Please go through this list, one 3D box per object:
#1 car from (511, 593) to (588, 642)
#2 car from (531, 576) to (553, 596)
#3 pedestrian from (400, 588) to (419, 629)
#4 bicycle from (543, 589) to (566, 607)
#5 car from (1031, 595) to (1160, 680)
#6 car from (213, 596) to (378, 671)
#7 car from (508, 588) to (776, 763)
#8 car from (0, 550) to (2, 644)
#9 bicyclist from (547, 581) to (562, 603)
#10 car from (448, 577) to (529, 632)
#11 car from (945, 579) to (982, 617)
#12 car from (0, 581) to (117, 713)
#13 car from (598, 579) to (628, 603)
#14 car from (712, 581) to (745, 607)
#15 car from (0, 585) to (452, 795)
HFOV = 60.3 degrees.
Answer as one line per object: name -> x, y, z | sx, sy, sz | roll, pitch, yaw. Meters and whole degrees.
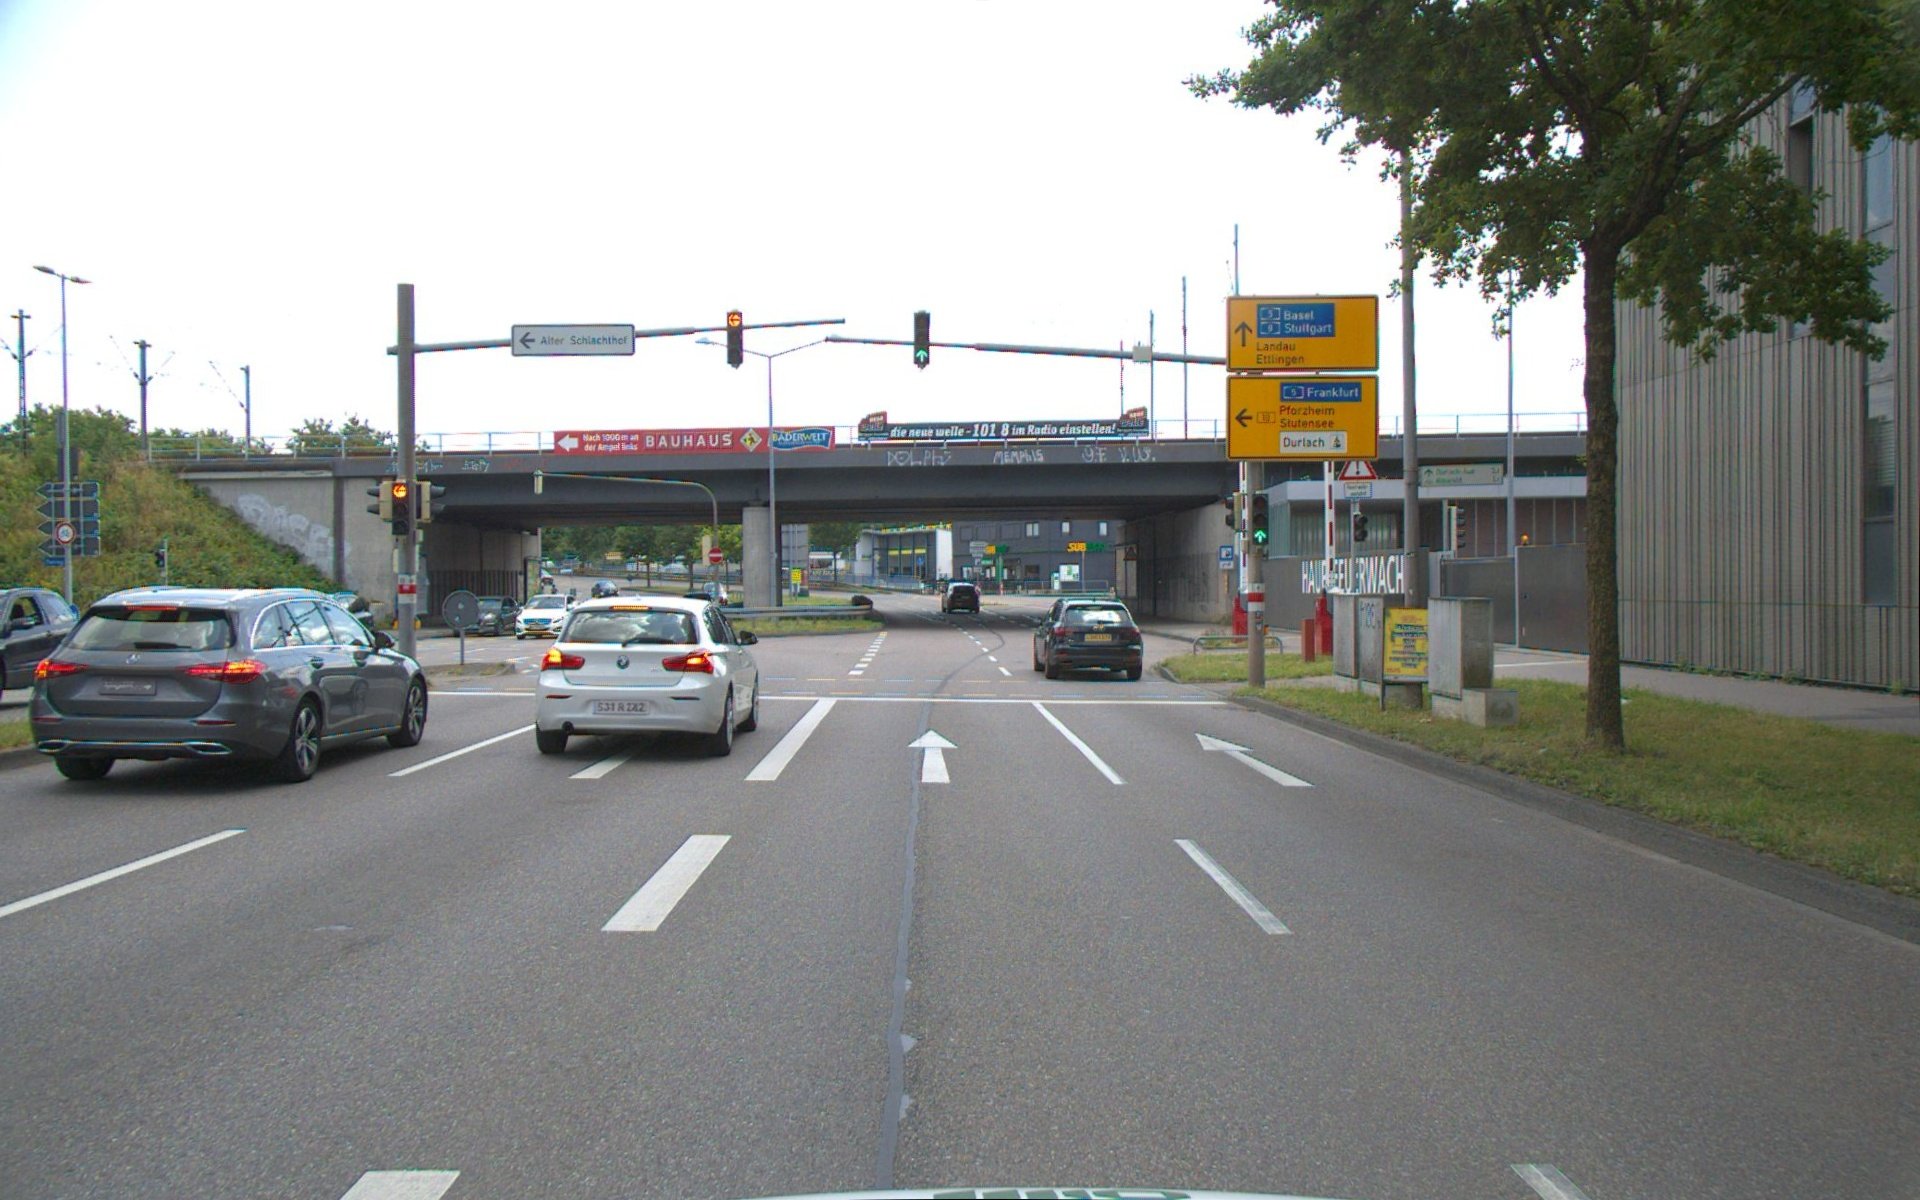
car -> -14.757, 0.599, 59.688 | 1.769, 1.660, 4.391 | -1, 0, -2
car -> -44.916, -1.494, 177.684 | 1.963, 2.049, 4.313 | -1, 1, -19
pedestrian -> -22.890, 0.357, 68.747 | 0.579, 1.710, 0.555 | -1, 0, -4
bicycle -> -26.249, -0.113, 107.149 | 0.666, 1.162, 2.285 | 1, 0, 6
car -> 2.470, 0.651, 31.295 | 1.953, 1.414, 4.575 | 1, 1, -1
car -> -14.433, 0.683, 36.169 | 1.886, 1.556, 4.001 | 0, 0, 2
car -> -2.986, 0.639, 16.446 | 1.876, 1.439, 4.294 | 2, 0, -1
car -> -31.736, -0.057, 48.949 | 5.299, 2.871, 2.382 | -1, 0, -9
bicyclist -> -26.253, -0.519, 107.071 | 0.667, 1.432, 0.925 | 1, 0, 6
car -> -18.340, 0.159, 64.512 | 1.952, 2.049, 4.000 | -1, 0, 1
car -> 0.178, -0.127, 93.607 | 1.953, 2.073, 4.712 | -1, 0, -1
car -> -14.116, 0.658, 23.759 | 1.953, 1.797, 4.218 | -1, 0, -2
car -> -31.423, -0.821, 149.995 | 1.954, 2.049, 4.334 | -1, 1, -3
car -> -16.552, -0.447, 118.520 | 1.954, 1.789, 4.714 | -1, 0, -3
car -> -5.939, 0.606, 13.877 | 1.953, 1.440, 4.831 | 1, 0, -1
